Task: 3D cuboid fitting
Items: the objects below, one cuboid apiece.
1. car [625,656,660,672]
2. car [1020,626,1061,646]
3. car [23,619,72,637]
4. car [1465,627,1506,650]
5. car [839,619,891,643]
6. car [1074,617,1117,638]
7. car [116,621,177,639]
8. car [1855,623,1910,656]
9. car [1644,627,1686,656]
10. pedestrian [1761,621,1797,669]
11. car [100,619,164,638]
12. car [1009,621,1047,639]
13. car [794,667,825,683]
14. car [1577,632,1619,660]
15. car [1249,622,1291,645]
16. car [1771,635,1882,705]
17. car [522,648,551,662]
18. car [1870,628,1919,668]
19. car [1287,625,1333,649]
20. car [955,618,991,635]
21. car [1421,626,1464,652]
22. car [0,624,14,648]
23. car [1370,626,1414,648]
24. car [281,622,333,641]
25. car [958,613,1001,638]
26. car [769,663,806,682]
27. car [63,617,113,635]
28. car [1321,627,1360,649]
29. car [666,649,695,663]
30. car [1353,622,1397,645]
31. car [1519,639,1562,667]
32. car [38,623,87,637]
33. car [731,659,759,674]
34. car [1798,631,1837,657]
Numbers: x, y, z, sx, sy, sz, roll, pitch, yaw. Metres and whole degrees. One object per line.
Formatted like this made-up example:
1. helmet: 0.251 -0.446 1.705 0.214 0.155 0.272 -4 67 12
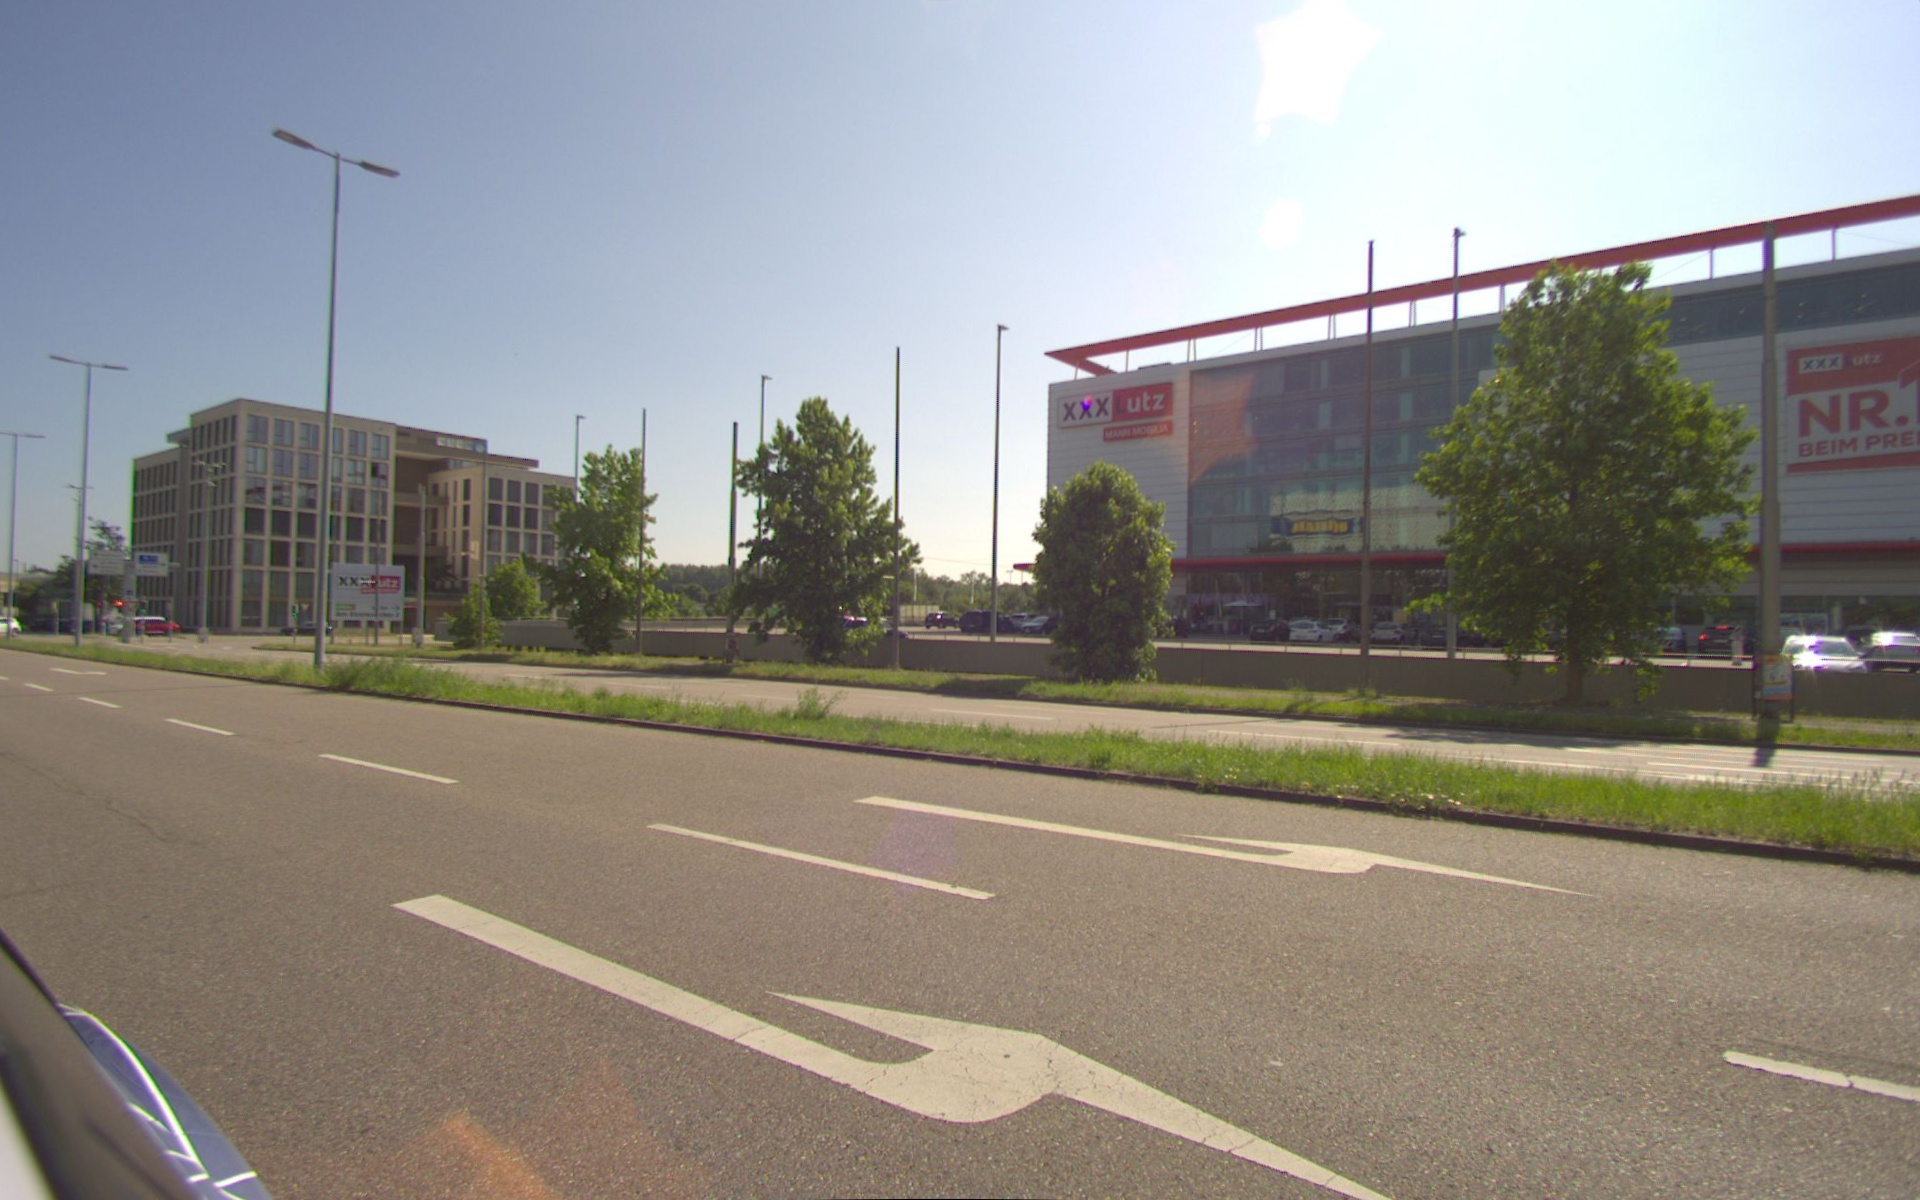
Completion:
1. car: -21.170 4.287 67.507 1.069 0.983 1.919 0 -1 36
2. car: 5.735 2.563 71.780 1.514 1.340 3.058 0 -1 38
3. car: -108.534 3.306 120.390 3.931 2.029 2.006 2 -3 -31
4. car: 30.450 2.220 58.603 1.604 1.237 3.058 0 -1 37
5. car: -4.489 1.459 47.795 1.069 1.067 2.490 0 -1 36
6. car: 9.244 1.886 68.986 1.513 1.340 3.184 0 -1 37
7. car: -73.377 2.743 91.322 1.528 1.539 4.069 -1 -2 36
8. car: 40.550 1.721 44.521 1.513 1.340 3.058 0 -1 37
9. car: 34.185 2.007 49.046 1.513 1.340 3.058 0 -1 37
10. pedestrian: 35.661 1.968 44.076 0.850 2.029 1.024 3 -4 -37
11. car: -76.344 2.629 93.383 1.901 1.724 4.179 -1 -2 36
12. car: 5.353 2.327 79.467 1.513 1.340 3.058 0 -1 37
13. car: -10.372 5.176 69.772 1.069 0.983 1.920 1 -1 35
14. car: 32.141 2.292 50.972 1.513 1.340 3.058 0 -1 37
15. car: 18.986 2.058 61.991 1.513 1.340 3.058 0 -1 37
16. car: 22.764 1.774 26.741 1.868 1.640 4.372 0 -2 36
17. car: -32.168 4.183 76.944 0.865 0.983 1.826 0 -1 36
18. car: 33.979 1.719 36.387 1.513 1.340 4.446 0 -1 37
19. car: 20.821 2.167 60.176 1.701 1.340 3.058 0 -1 37
20. car: 1.070 2.137 82.789 1.513 1.340 2.983 0 -1 37
21. car: 26.364 2.115 55.250 1.513 1.340 3.058 0 -1 37
22. car: -76.399 2.795 79.130 1.991 1.852 4.326 2 -1 -21
23. car: 24.364 2.071 56.984 1.478 1.208 3.466 0 -1 37
24. car: -67.309 3.252 104.347 1.833 1.903 4.188 0 -1 39
25. car: 1.469 1.913 75.256 1.690 1.771 3.058 0 -1 37
26. car: -9.985 4.198 58.753 1.069 0.983 1.919 0 -1 36
27. car: -99.720 3.007 115.766 3.931 2.029 2.006 2 -3 -31
28. car: 24.183 2.393 64.226 1.513 1.340 3.058 0 -1 37
29. car: -21.634 4.343 78.477 1.069 0.983 1.919 0 -1 36
30. car: 25.583 2.044 62.279 1.627 1.340 3.631 0 -1 37
31. car: 29.898 2.703 52.077 1.513 1.303 3.058 0 -1 38
32. car: -105.790 3.527 119.284 3.931 1.627 2.006 2 -3 -31
33. car: -15.693 4.865 73.934 0.909 0.983 1.919 0 -1 36
34. car: 48.592 2.480 57.413 1.513 1.340 3.058 0 -1 37
